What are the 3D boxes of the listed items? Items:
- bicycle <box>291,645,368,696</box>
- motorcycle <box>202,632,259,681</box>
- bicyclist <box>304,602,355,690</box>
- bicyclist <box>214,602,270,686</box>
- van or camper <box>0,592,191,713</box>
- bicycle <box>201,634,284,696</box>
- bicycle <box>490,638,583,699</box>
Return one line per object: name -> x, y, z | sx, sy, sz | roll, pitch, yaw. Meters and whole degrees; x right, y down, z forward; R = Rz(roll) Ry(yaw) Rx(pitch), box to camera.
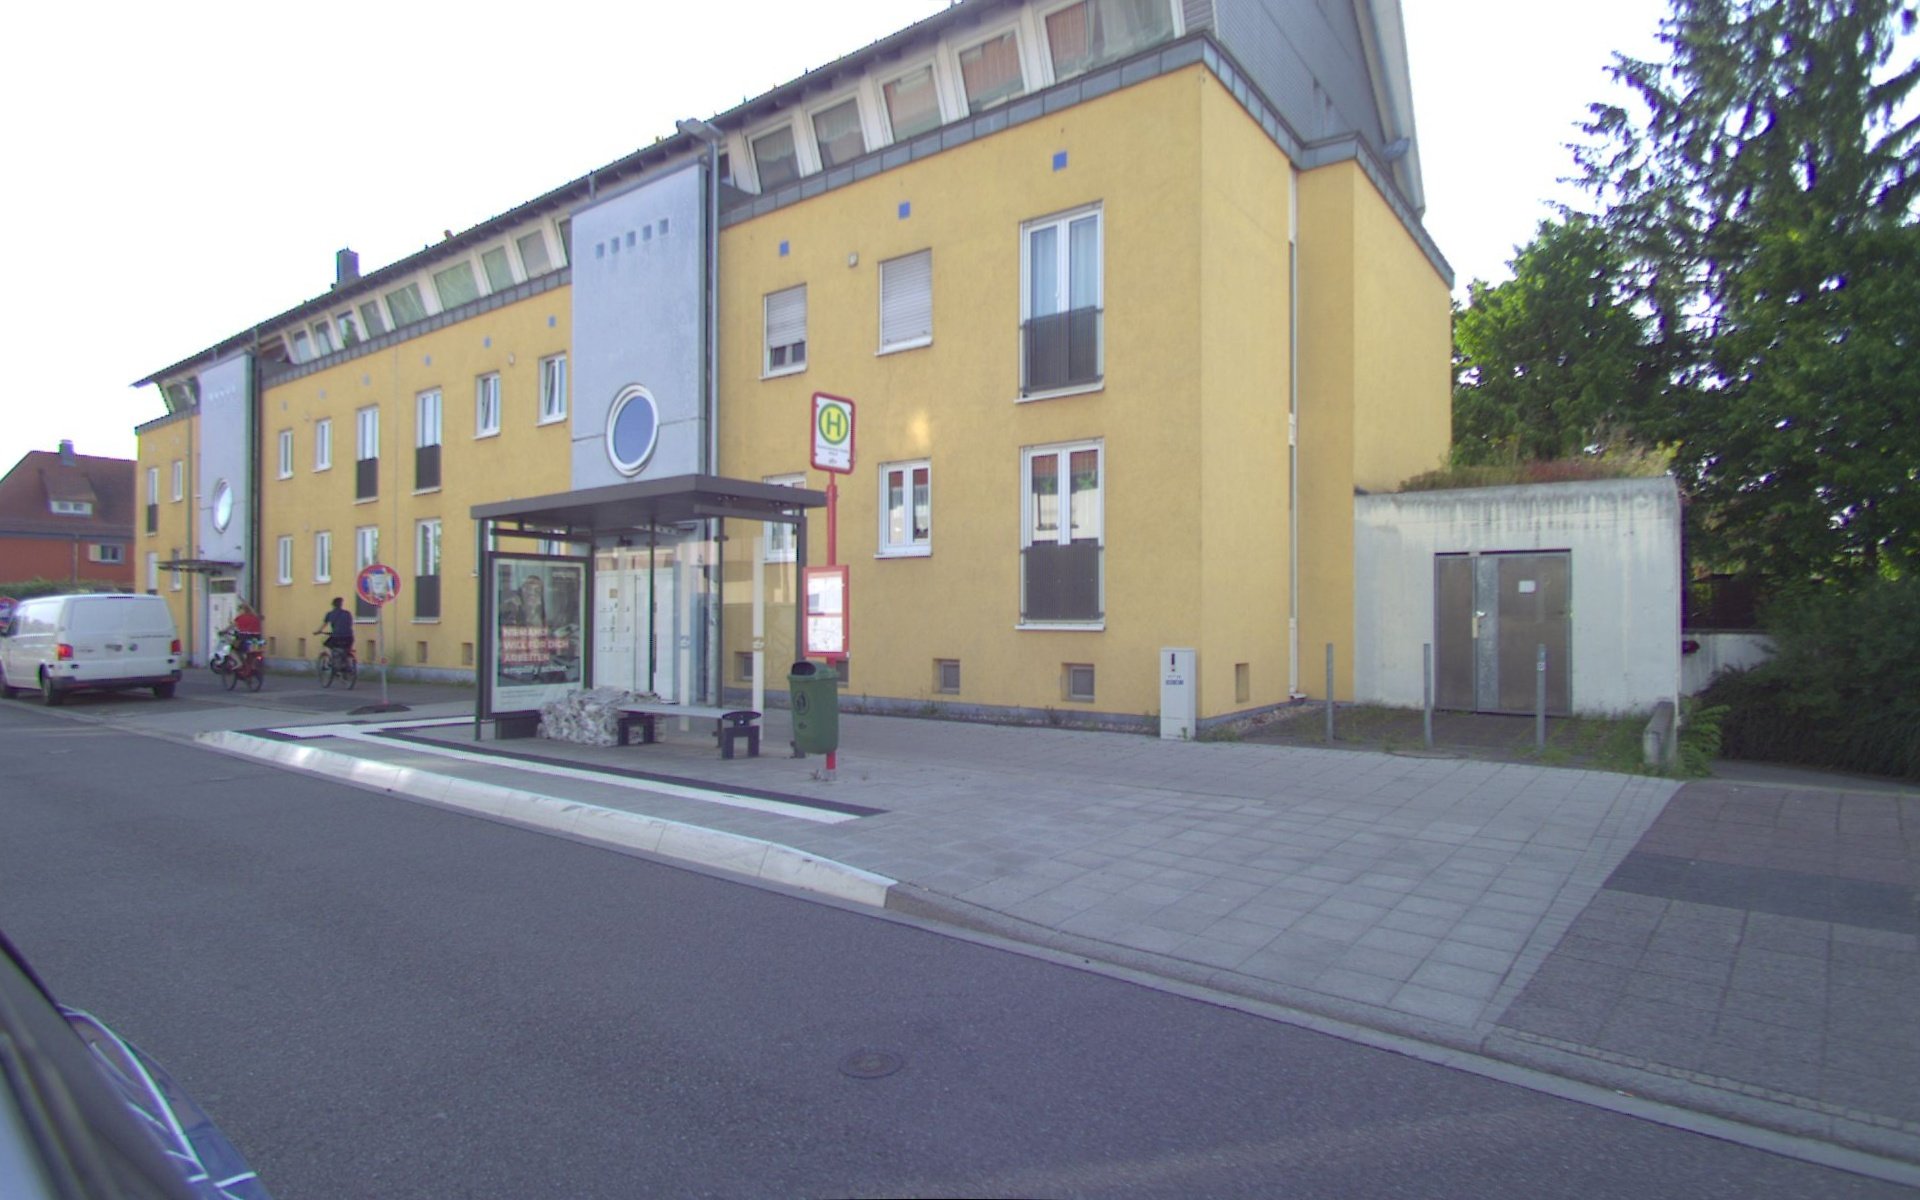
bicycle -> -12.385, 1.362, 19.863 | 1.871, 0.919, 0.684 | -2, -1, 38
motorcycle -> -18.613, 1.413, 25.804 | 1.873, 1.191, 0.577 | -1, -1, 34
bicyclist -> -12.356, 0.883, 19.839 | 0.665, 1.682, 0.667 | -1, -1, 37
bicyclist -> -14.197, 0.855, 20.017 | 0.725, 1.615, 0.664 | -1, -1, 32
van or camper -> -16.670, 0.922, 19.251 | 4.911, 2.018, 1.976 | -1, -1, 36
bicycle -> -14.239, 1.270, 20.071 | 2.016, 1.169, 0.607 | -1, -1, 32
bicycle -> -7.595, 1.201, 18.123 | 1.904, 1.005, 0.709 | -1, -1, 39
